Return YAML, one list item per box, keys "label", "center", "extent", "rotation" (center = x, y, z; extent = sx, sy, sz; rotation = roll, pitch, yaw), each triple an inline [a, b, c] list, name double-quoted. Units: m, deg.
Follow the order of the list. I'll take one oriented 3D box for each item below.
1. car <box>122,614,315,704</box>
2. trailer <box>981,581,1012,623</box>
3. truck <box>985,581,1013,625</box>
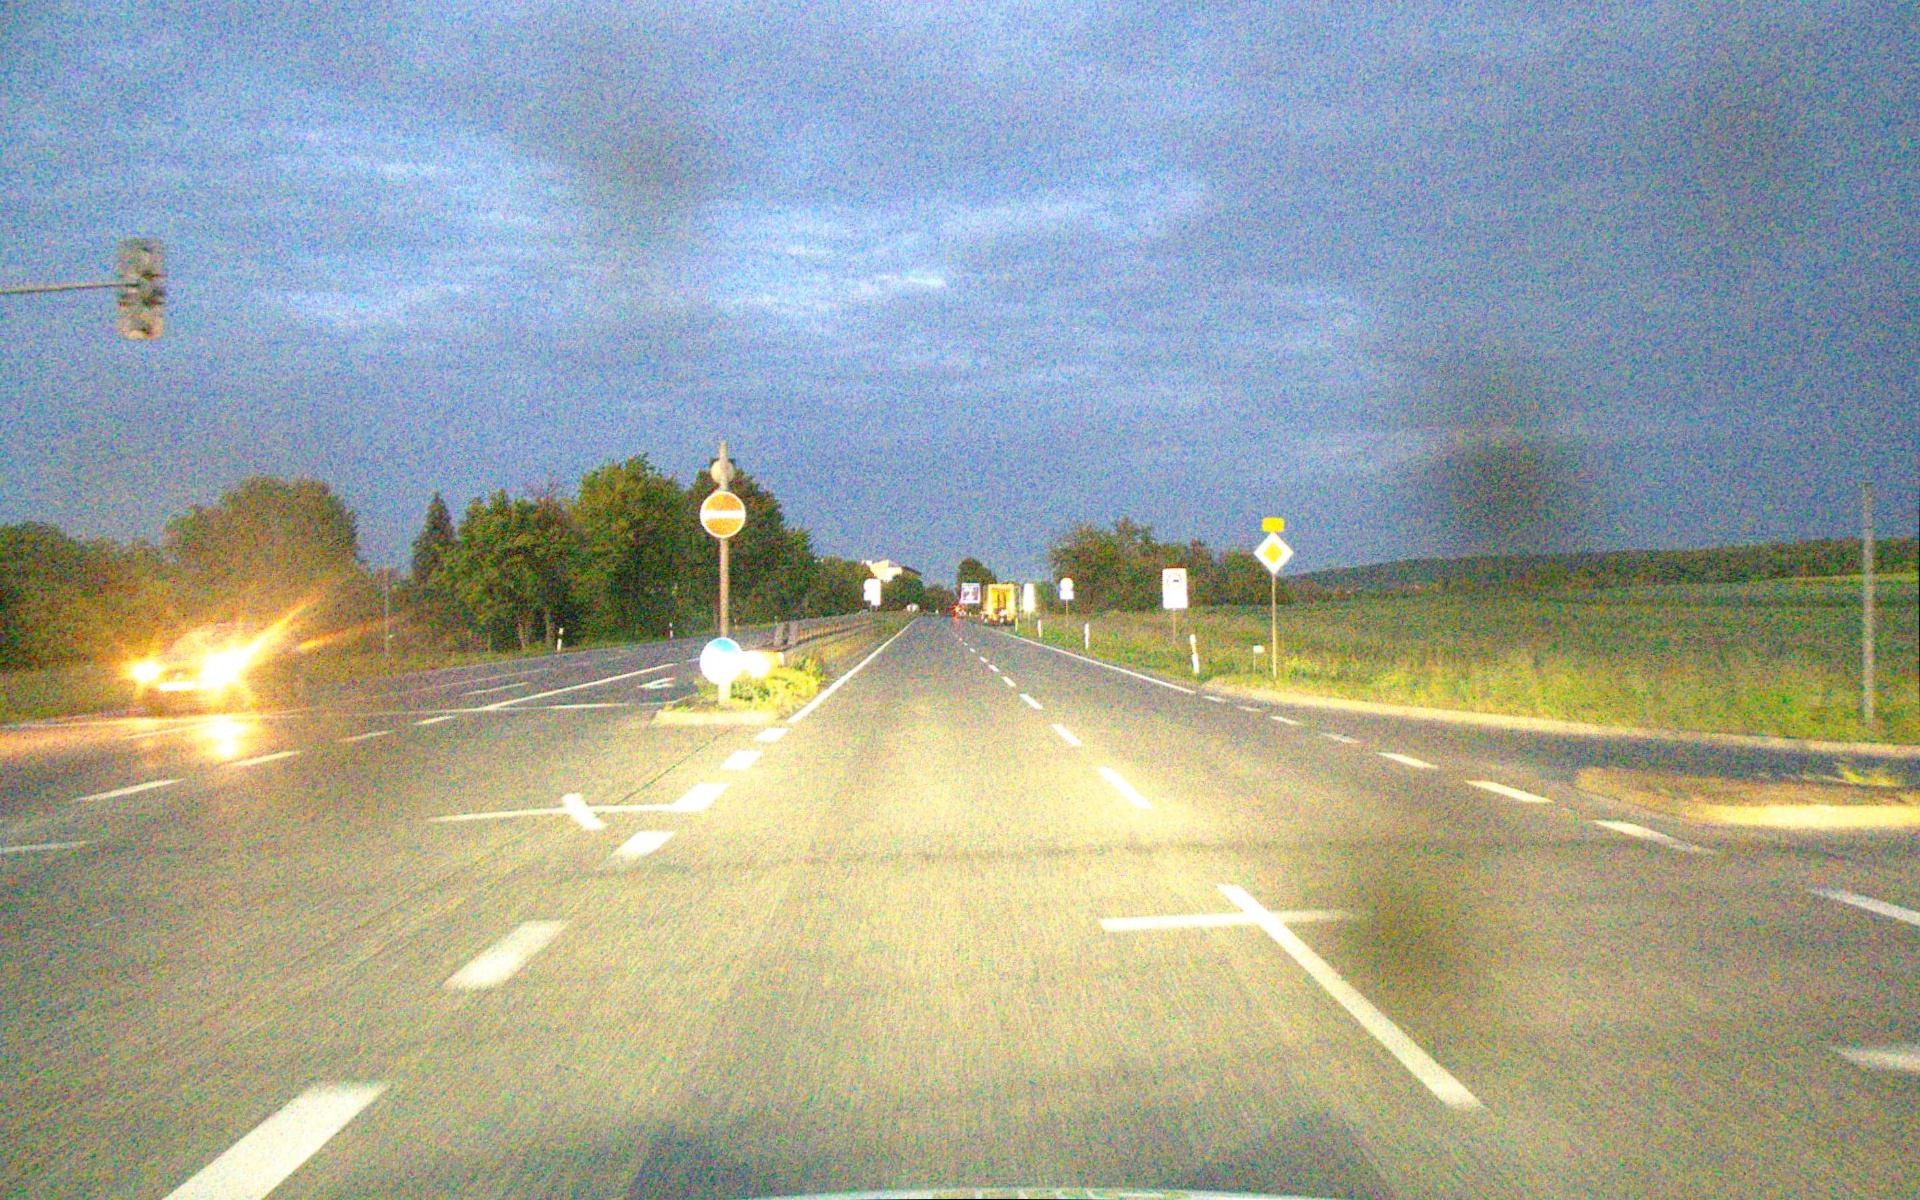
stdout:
- label: "car"
  center: [-12.780, 0.981, 28.773]
  extent: [1.619, 1.409, 4.028]
  rotation: [1, -1, -2]
- label: "trailer"
  center: [3.717, 0.243, 169.812]
  extent: [2.569, 4.176, 12.933]
  rotation: [0, 0, -1]
- label: "truck"
  center: [3.800, 0.271, 162.416]
  extent: [2.527, 4.142, 6.129]
  rotation: [1, 0, 0]
